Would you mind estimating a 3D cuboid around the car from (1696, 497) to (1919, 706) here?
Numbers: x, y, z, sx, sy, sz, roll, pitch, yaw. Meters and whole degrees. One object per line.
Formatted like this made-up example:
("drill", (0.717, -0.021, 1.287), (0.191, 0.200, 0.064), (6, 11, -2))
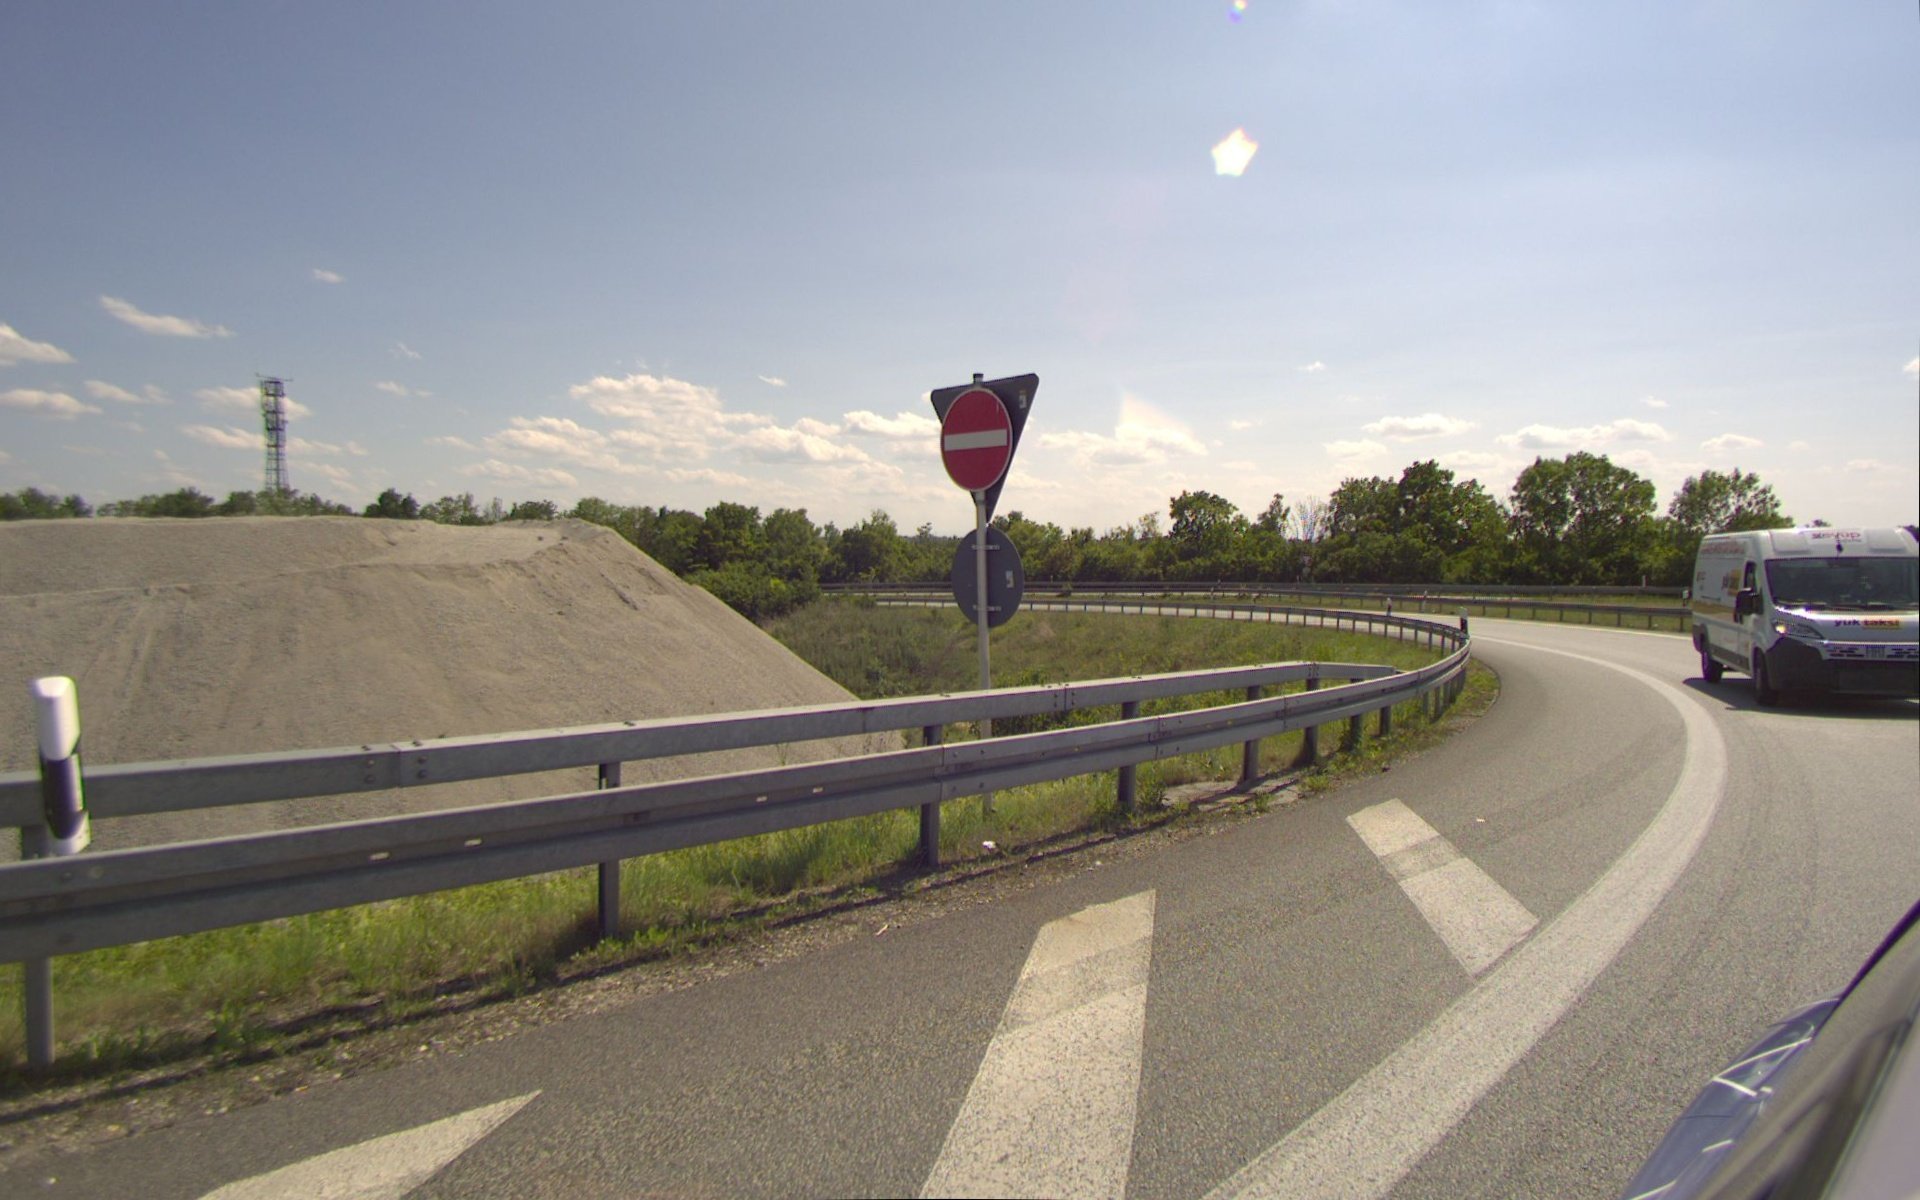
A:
("car", (12.915, 0.017, 15.276), (2.070, 2.556, 6.173), (-1, -1, 29))
